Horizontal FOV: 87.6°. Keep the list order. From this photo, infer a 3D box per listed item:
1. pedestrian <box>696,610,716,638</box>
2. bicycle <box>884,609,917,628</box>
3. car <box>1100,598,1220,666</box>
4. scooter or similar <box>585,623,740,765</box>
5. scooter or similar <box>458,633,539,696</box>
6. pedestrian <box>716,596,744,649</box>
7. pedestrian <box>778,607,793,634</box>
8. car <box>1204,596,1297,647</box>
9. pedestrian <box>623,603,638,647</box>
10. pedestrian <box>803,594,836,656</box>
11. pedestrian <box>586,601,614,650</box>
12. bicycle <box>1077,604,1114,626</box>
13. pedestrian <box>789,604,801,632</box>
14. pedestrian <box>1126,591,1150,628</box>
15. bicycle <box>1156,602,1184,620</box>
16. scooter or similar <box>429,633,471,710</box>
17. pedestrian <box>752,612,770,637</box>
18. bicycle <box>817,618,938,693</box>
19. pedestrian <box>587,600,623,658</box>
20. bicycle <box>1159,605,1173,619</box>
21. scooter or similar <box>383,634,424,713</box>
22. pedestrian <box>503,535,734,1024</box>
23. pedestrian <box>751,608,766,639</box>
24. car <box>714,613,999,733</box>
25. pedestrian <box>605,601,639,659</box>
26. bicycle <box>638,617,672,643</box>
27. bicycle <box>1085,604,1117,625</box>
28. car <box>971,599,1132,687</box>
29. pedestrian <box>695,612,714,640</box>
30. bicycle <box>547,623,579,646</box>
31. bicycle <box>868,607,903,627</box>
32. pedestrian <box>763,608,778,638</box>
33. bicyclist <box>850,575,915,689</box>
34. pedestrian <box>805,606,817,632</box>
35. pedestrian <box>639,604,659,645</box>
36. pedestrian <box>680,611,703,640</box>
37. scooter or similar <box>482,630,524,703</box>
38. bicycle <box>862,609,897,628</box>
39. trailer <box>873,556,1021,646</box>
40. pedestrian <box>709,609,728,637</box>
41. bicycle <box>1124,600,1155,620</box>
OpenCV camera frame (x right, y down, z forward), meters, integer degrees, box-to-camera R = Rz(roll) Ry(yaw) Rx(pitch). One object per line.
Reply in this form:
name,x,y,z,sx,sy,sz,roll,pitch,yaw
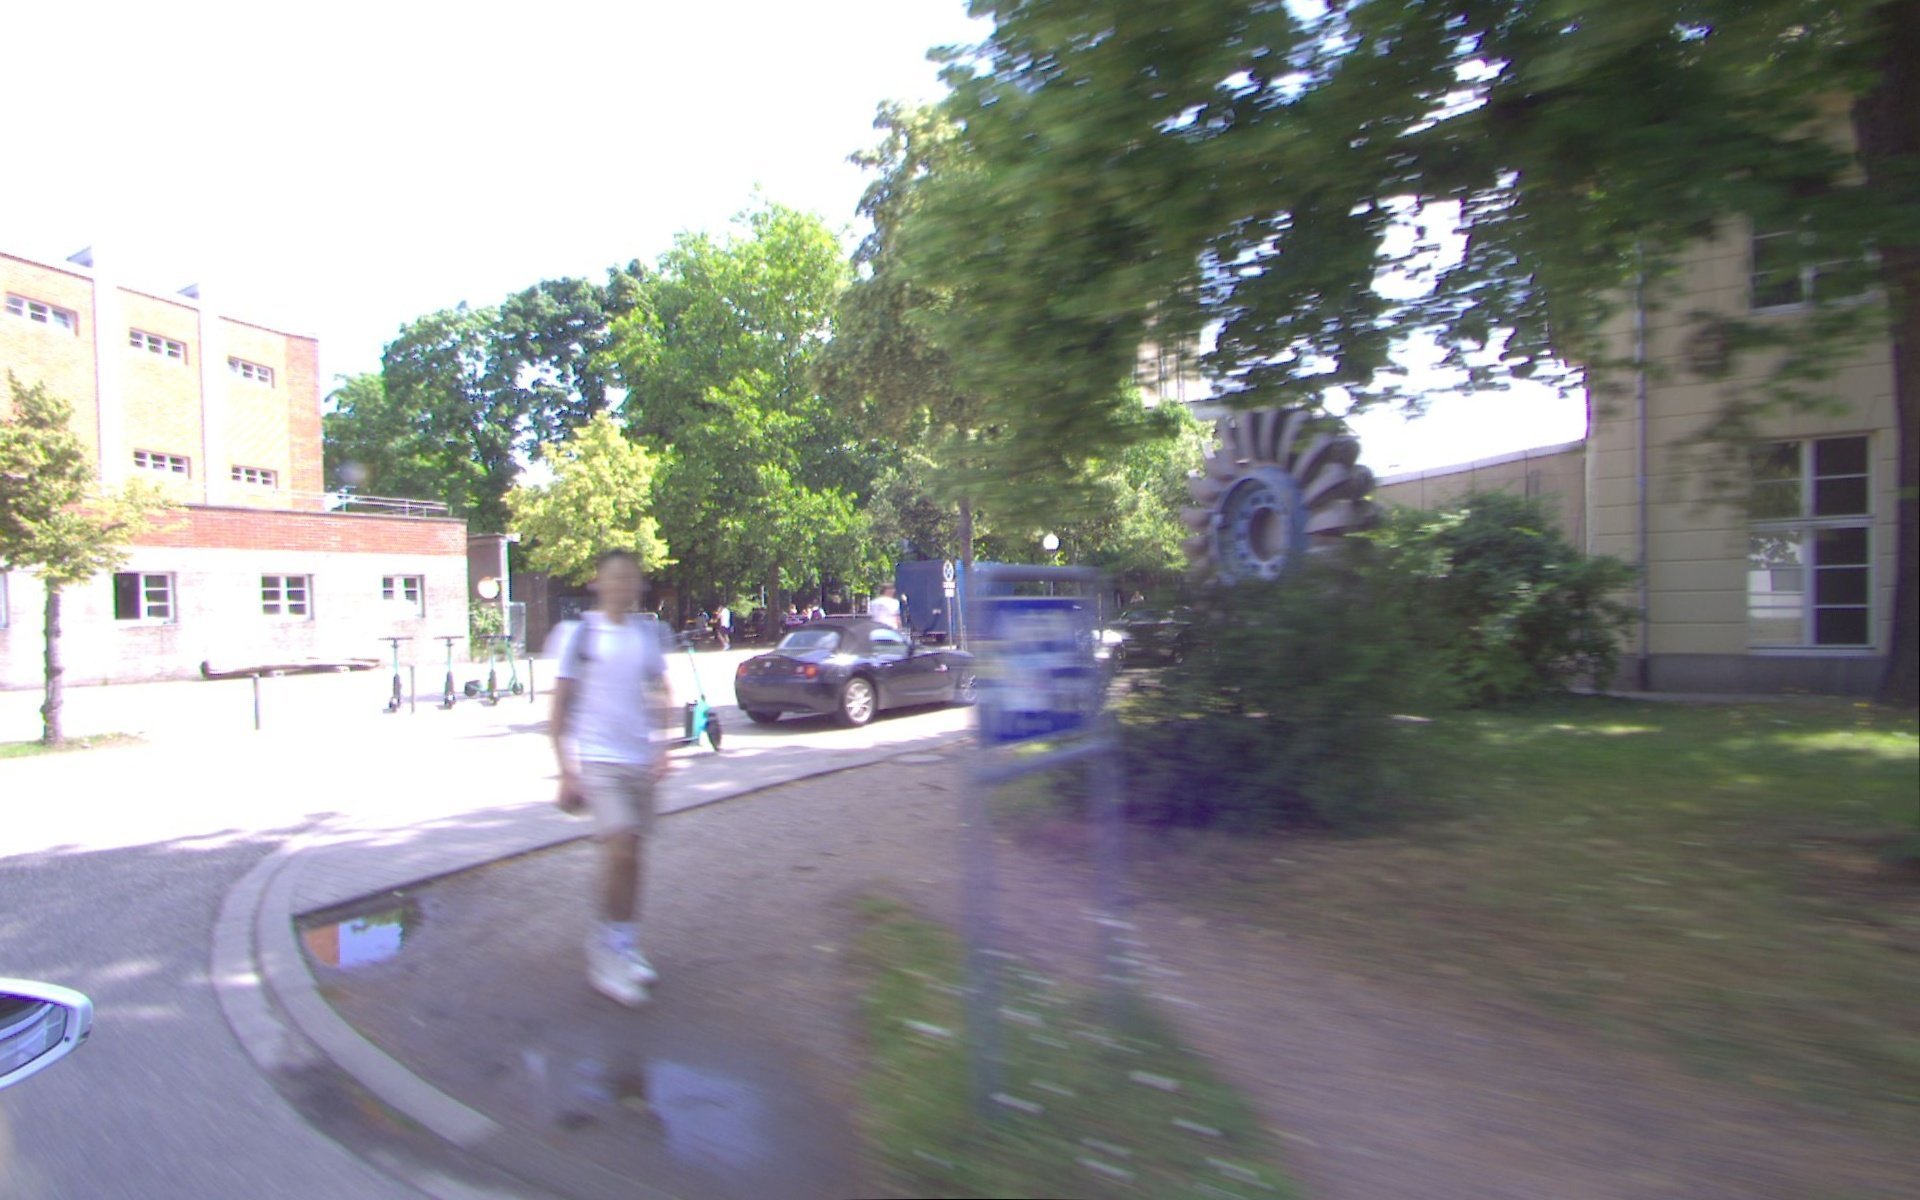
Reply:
pedestrian,-11.784,1.122,46.433,0.554,1.288,0.689,0,1,33
bicycle,-3.725,1.130,62.454,1.981,1.133,0.583,-1,0,24
car,4.847,0.717,23.857,1.627,1.409,3.969,-2,0,30
scooter or similar,-2.881,0.867,9.783,0.548,1.270,1.371,-1,0,40
scooter or similar,-9.059,1.243,19.678,0.559,1.164,1.337,0,0,44
pedestrian,-8.028,0.793,34.888,0.868,1.843,0.447,1,-1,-30
pedestrian,-8.290,0.983,47.610,0.583,1.250,0.742,-1,2,-2
car,9.219,0.636,31.521,1.706,1.486,4.649,-2,-1,30
pedestrian,-13.248,0.996,40.299,0.520,1.734,0.447,0,2,-12
pedestrian,-4.338,0.773,30.954,0.837,1.861,0.877,0,3,2
pedestrian,-12.909,0.931,35.915,0.868,1.742,0.487,1,-1,-30
bicycle,7.938,0.869,58.587,2.022,1.251,0.808,0,1,15
pedestrian,-9.138,1.019,55.566,0.498,1.543,0.473,0,1,22
pedestrian,9.586,0.516,54.039,0.910,1.981,0.884,2,2,42
bicycle,16.033,0.843,76.631,1.981,1.270,0.587,-2,0,0
scooter or similar,-8.907,1.213,17.471,0.557,1.241,1.567,-1,0,-30
pedestrian,-9.975,1.223,50.108,0.560,1.267,0.765,0,1,21
bicycle,-1.457,0.972,18.453,0.871,1.215,2.738,0,0,28
pedestrian,-11.141,0.908,31.423,0.569,1.803,0.913,0,0,31
bicycle,16.496,0.943,80.030,0.470,1.046,1.840,0,0,32
scooter or similar,-9.473,1.215,17.021,0.562,1.241,1.567,-1,0,-30
pedestrian,-1.366,0.655,4.043,0.575,1.768,0.638,-1,1,34
pedestrian,-9.505,1.105,47.270,0.583,1.388,0.703,-1,3,-2
car,-1.224,0.868,13.498,1.690,1.297,3.977,-1,0,33
pedestrian,-10.537,0.920,31.242,0.557,1.785,0.801,0,0,32
bicycle,-12.990,1.294,42.696,1.324,1.090,0.417,0,-1,-11
bicycle,7.990,0.823,56.711,1.746,1.147,0.458,0,1,15
car,1.856,0.779,19.129,1.568,1.485,3.971,-1,-1,30
pedestrian,-12.227,1.244,47.907,0.638,1.341,0.556,-1,1,34
bicycle,-15.931,1.380,40.183,0.301,0.895,1.224,0,0,34
bicycle,-4.371,0.976,58.422,1.981,1.133,0.583,-1,0,24
pedestrian,-8.881,1.076,46.934,0.583,1.388,0.742,-1,3,-2
bicyclist,-1.431,0.577,18.506,0.863,2.040,0.846,0,1,29
pedestrian,-8.222,1.044,55.187,0.498,1.441,0.459,0,1,23
pedestrian,-12.656,0.995,40.722,0.666,1.673,0.503,0,2,-7
pedestrian,-12.611,1.207,46.968,0.680,1.341,0.774,-1,0,34
scooter or similar,-8.273,1.174,18.097,0.517,1.241,1.567,-1,0,-30
bicycle,-4.614,1.053,57.468,1.981,1.021,0.583,-1,0,24
trailer,-0.338,0.021,37.547,2.666,3.067,6.233,0,1,32
pedestrian,-11.409,1.083,47.344,0.554,1.288,0.689,0,1,33
bicycle,13.768,0.765,76.649,2.246,1.469,0.607,-1,1,0
